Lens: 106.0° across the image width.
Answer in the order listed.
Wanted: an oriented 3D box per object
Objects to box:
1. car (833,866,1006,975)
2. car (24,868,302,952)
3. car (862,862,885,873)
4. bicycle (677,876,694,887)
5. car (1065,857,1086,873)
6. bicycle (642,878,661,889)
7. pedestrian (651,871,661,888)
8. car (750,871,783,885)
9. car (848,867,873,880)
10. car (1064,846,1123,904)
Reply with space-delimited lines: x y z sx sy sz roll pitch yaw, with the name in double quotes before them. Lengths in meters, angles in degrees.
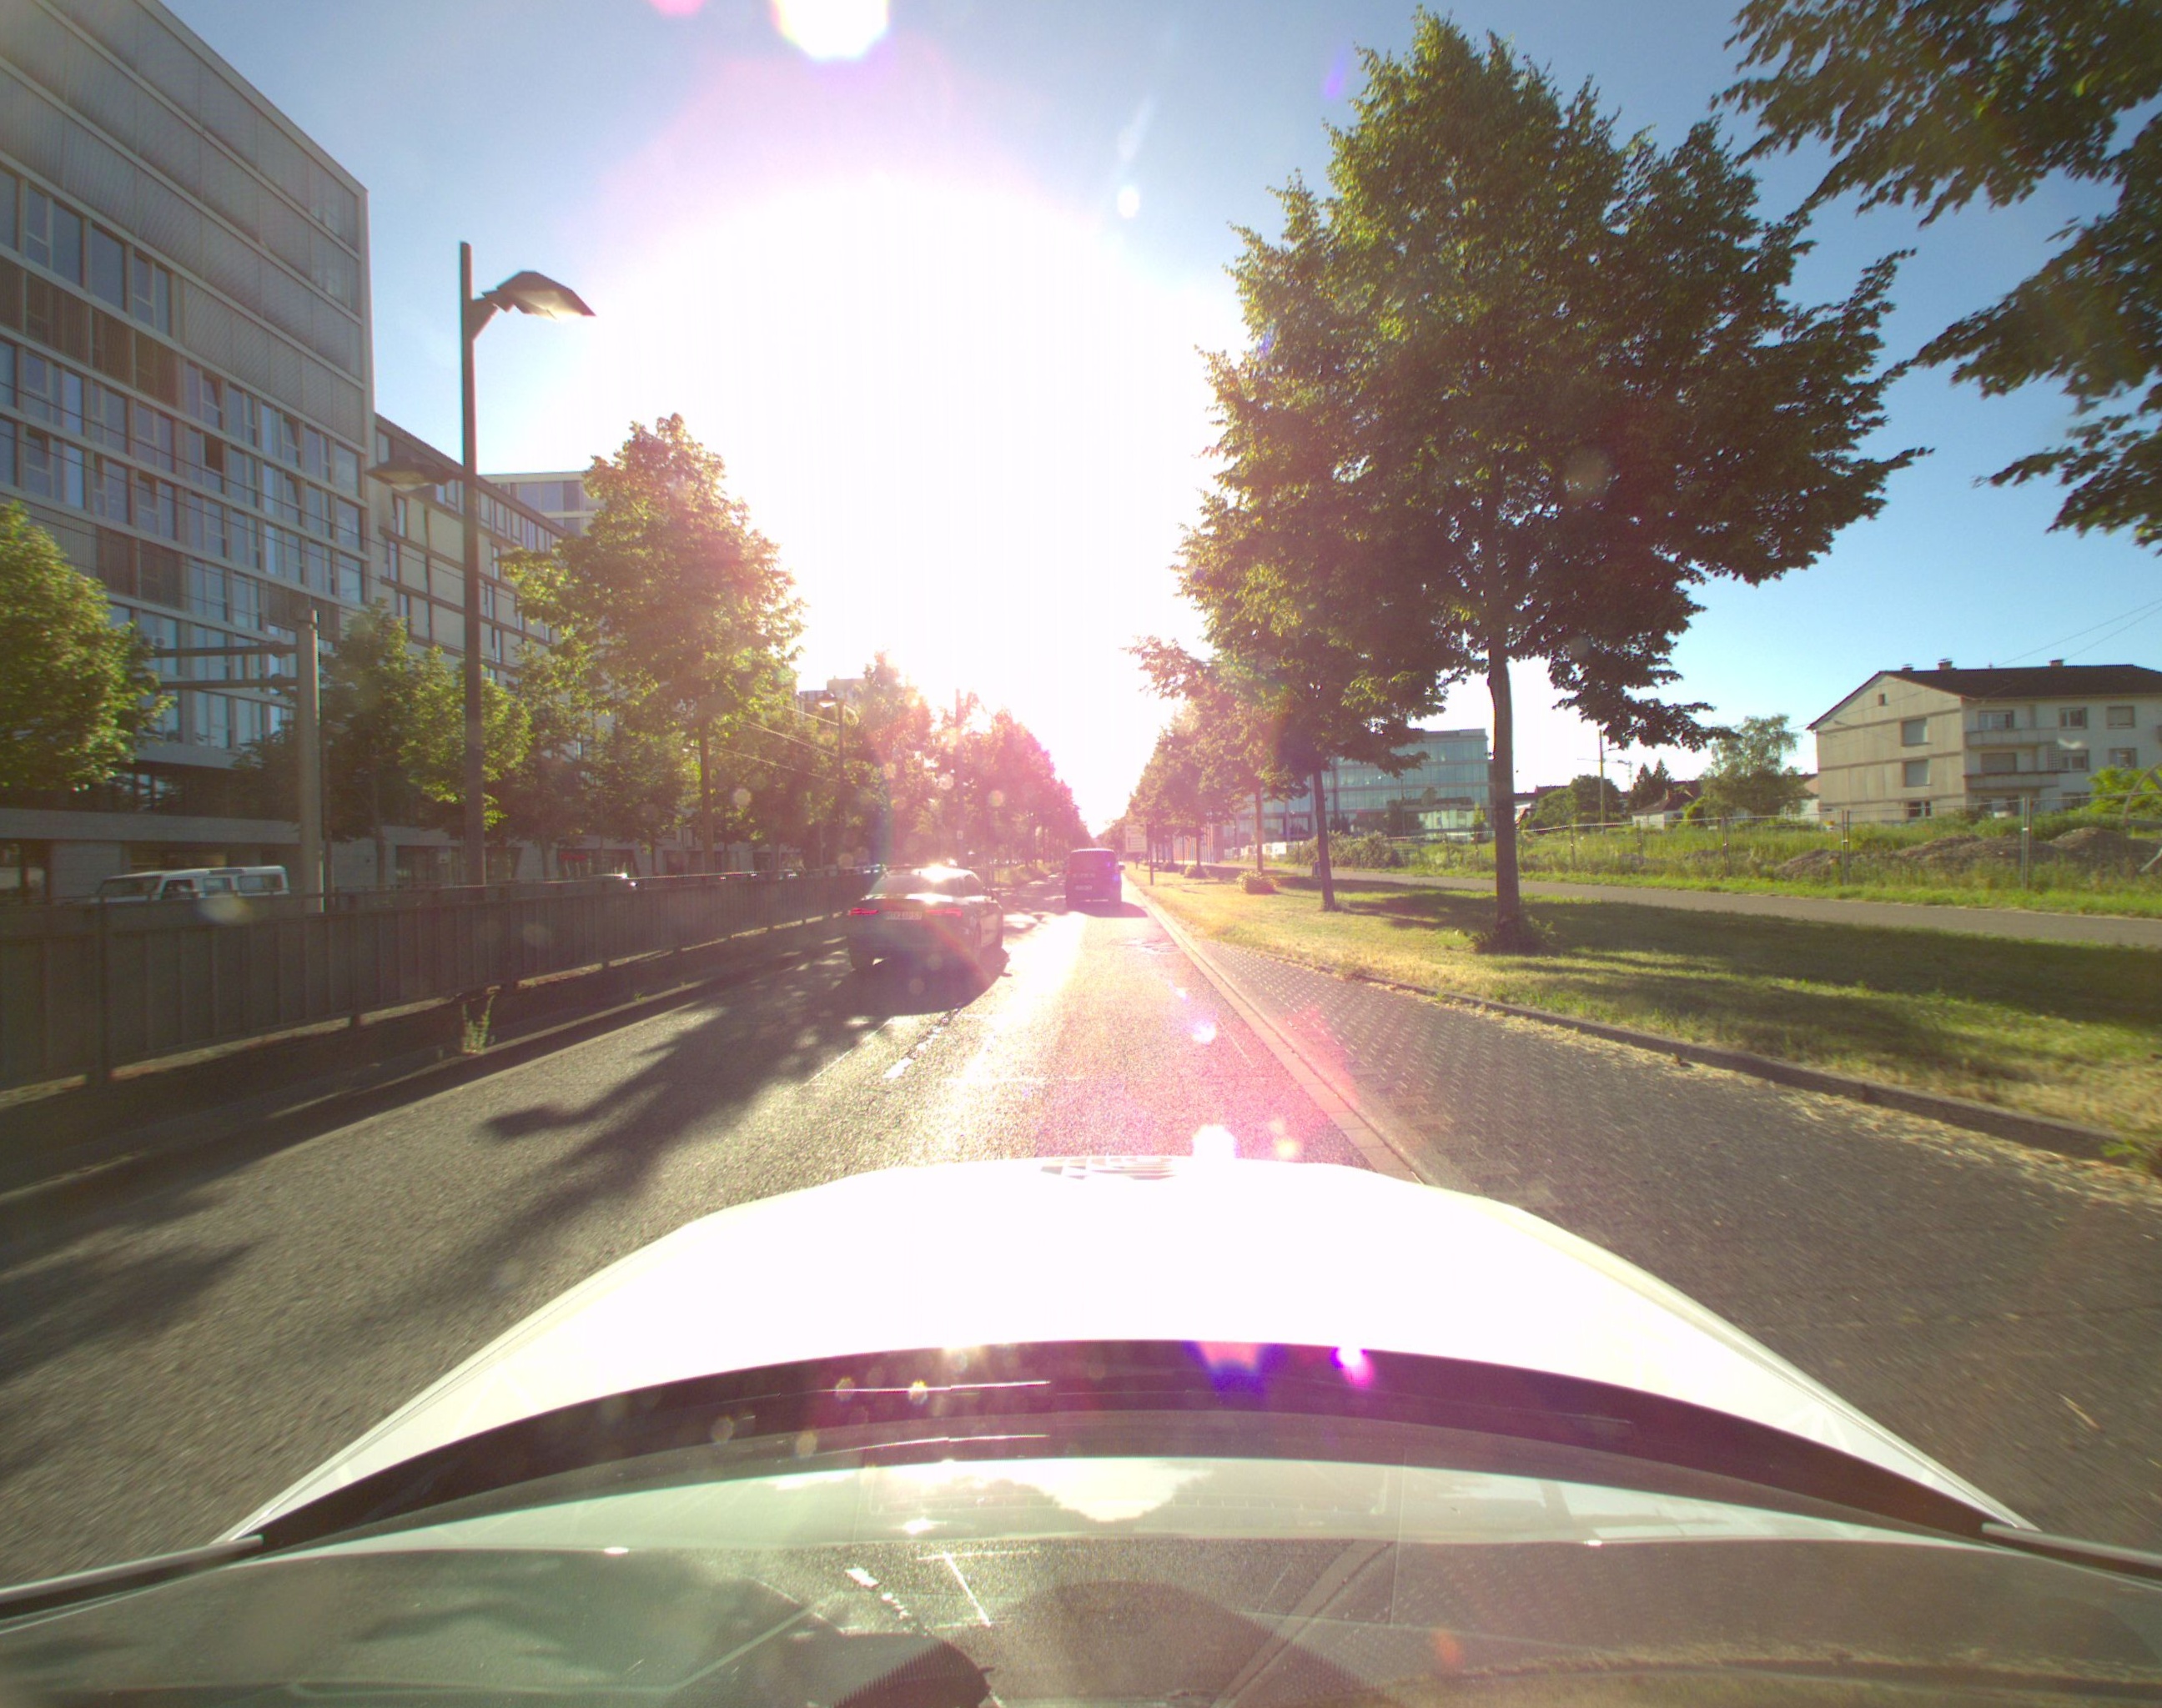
"car" -2.256 0.882 12.475 1.715 1.366 4.147 0 -1 1
"car" -22.447 1.280 20.228 1.986 1.750 4.229 -2 0 1
"car" -28.079 1.847 110.293 1.709 1.420 4.547 -2 0 2
"bicycle" -36.343 2.493 74.900 0.539 0.972 1.983 -2 -2 1
"car" -0.513 1.021 77.550 1.936 1.441 3.999 -2 0 -1
"bicycle" -36.348 2.478 68.945 0.539 0.881 2.015 -2 -1 1
"pedestrian" -35.877 2.132 68.783 0.406 1.413 0.690 -2 -2 1
"car" -29.526 2.229 76.589 1.662 1.207 3.583 -2 0 0
"car" -28.278 2.526 104.464 1.708 1.420 4.549 -3 0 3
"car" 0.392 0.679 26.850 1.792 1.777 3.999 0 -1 0
